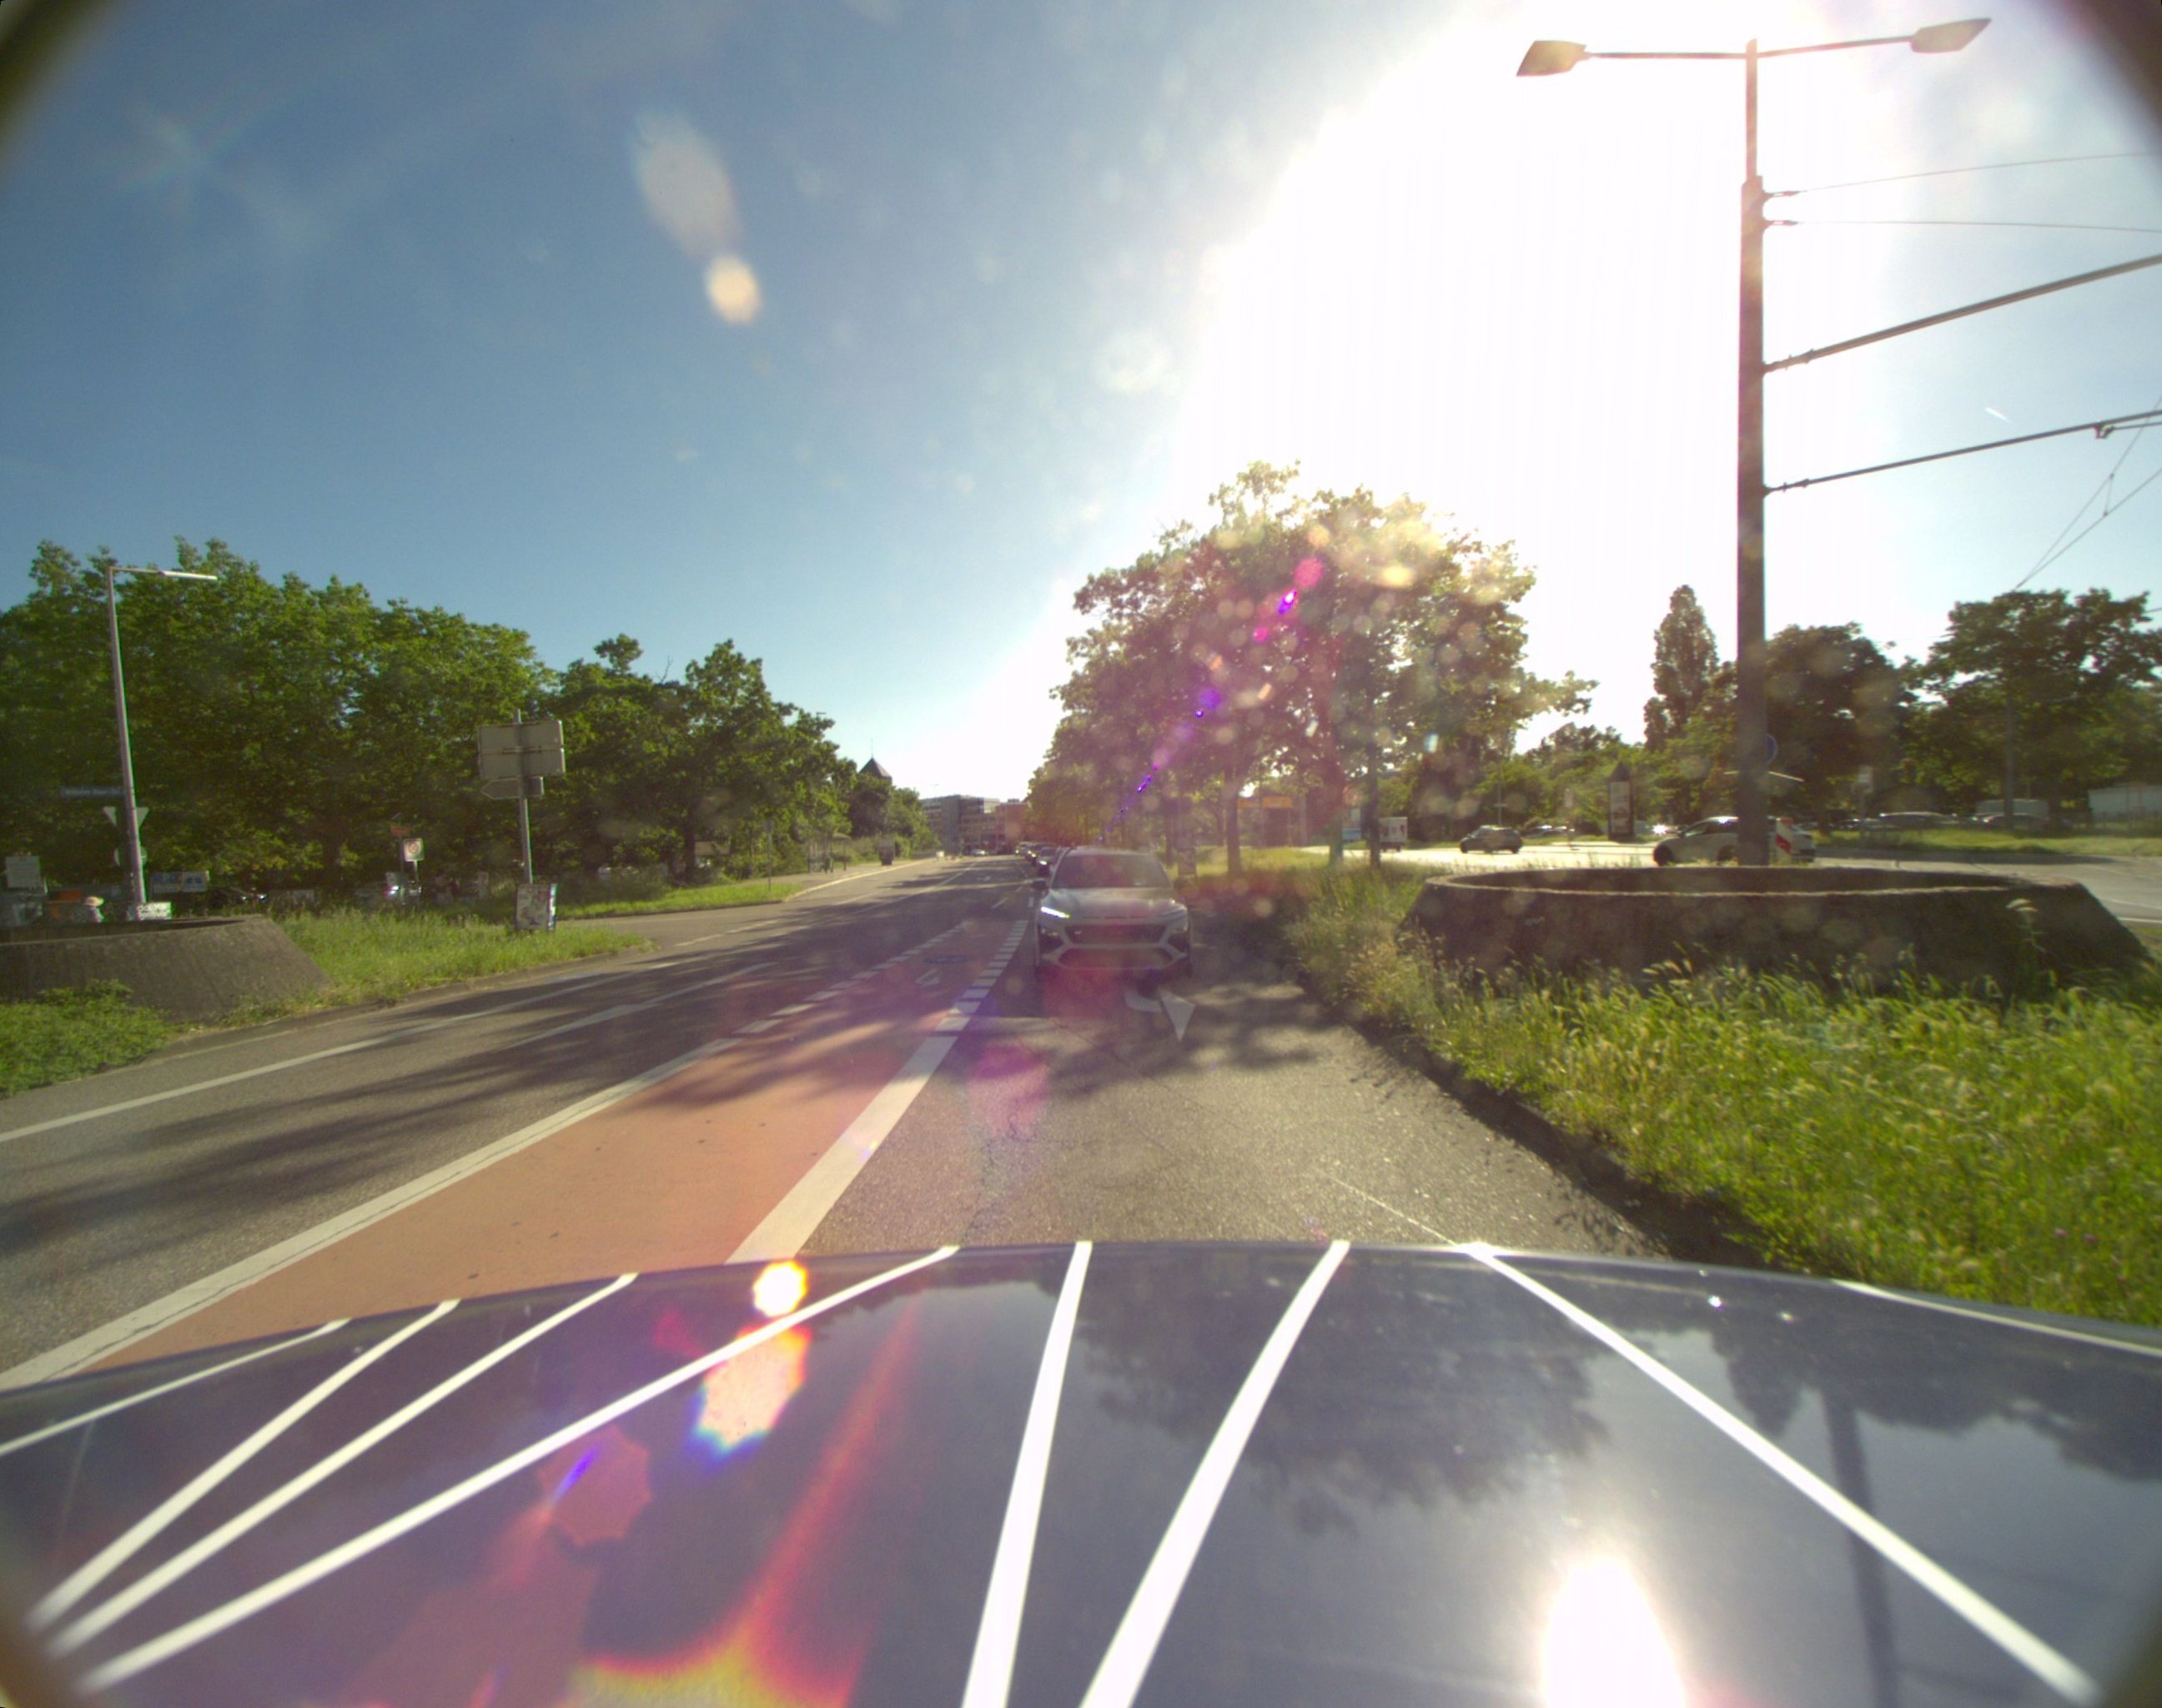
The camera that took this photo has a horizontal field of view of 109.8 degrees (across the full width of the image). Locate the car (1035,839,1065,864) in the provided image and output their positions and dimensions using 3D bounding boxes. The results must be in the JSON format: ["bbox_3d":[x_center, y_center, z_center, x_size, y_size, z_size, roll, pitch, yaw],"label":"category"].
[{"bbox_3d":[-2.095,-0.198,52.270,1.875,1.623,3.999,-2,1,-1],"label":"car"}]

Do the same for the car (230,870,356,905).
[{"bbox_3d":[-36.116,1.505,34.913,3.652,1.268,1.621,-3,4,-11],"label":"car"}]

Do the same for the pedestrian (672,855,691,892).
[{"bbox_3d":[-18.367,0.884,34.920,0.604,1.690,0.410,-2,2,-6],"label":"pedestrian"}]

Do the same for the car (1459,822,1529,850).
[{"bbox_3d":[23.523,-1.021,43.495,1.667,1.440,4.401,-2,1,2],"label":"car"}]

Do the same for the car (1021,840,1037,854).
[{"bbox_3d":[-6.614,-0.851,97.136,1.745,1.539,4.000,-4,-1,-1],"label":"car"}]

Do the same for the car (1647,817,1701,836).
[{"bbox_3d":[45.710,-2.105,58.512,4.006,1.275,1.995,-3,2,-31],"label":"car"}]

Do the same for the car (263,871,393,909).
[{"bbox_3d":[-32.343,1.516,32.755,3.588,1.308,1.621,-3,4,-11],"label":"car"}]

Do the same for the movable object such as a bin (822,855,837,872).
[{"bbox_3d":[-15.813,0.589,47.729,0.729,1.024,0.578,-2,2,-6],"label":"movable object such as a bin"}]

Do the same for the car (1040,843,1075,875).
[{"bbox_3d":[-1.194,0.220,39.366,1.678,1.499,3.947,-2,1,-1],"label":"car"}]

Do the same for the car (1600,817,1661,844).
[{"bbox_3d":[44.517,-1.909,61.524,5.007,2.002,2.234,-3,2,-31],"label":"car"}]

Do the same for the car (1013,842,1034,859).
[{"bbox_3d":[-5.224,-0.341,69.576,1.782,1.397,3.998,-2,1,-3],"label":"car"}]

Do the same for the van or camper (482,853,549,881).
[{"bbox_3d":[-48.337,1.022,65.149,2.459,2.146,5.321,-3,1,-11],"label":"van or camper"}]

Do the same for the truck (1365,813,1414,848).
[{"bbox_3d":[23.164,-1.748,57.189,1.793,2.413,4.107,-3,1,-4],"label":"truck"}]

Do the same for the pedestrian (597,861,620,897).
[{"bbox_3d":[-20.380,1.089,32.794,0.529,1.510,0.613,-3,2,-3],"label":"pedestrian"}]

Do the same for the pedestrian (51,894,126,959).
[{"bbox_3d":[-25.055,1.810,19.203,0.652,1.489,0.908,-3,2,-14],"label":"pedestrian"}]

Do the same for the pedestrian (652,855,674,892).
[{"bbox_3d":[-18.902,0.874,34.406,0.624,1.625,0.551,-2,2,-5],"label":"pedestrian"}]

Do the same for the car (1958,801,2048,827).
[{"bbox_3d":[68.467,-2.965,56.485,1.884,1.710,3.955,-3,2,-30],"label":"car"}]

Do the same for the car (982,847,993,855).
[{"bbox_3d":[-18.124,-0.586,147.955,1.999,1.524,3.997,-2,1,-6],"label":"car"}]

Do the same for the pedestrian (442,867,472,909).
[{"bbox_3d":[-24.910,1.353,30.347,0.599,1.611,0.566,-4,3,-11],"label":"pedestrian"}]

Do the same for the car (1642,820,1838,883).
[{"bbox_3d":[18.706,-0.117,21.893,1.998,1.553,4.386,-2,1,3],"label":"car"}]

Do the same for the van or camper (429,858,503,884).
[{"bbox_3d":[-52.022,1.389,64.428,2.459,1.902,5.322,-3,1,-10],"label":"van or camper"}]

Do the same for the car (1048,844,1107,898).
[{"bbox_3d":[-0.138,0.490,25.102,1.745,1.540,3.999,-2,1,-1],"label":"car"}]

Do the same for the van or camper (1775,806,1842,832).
[{"bbox_3d":[61.175,-2.912,63.965,1.997,2.084,4.404,-2,1,11],"label":"van or camper"}]

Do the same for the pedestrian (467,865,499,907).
[{"bbox_3d":[-24.031,1.291,30.519,0.705,1.611,0.566,-4,3,-11],"label":"pedestrian"}]

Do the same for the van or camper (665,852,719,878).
[{"bbox_3d":[-32.696,0.896,64.086,2.459,1.902,5.322,-3,1,-10],"label":"van or camper"}]

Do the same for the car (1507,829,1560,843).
[{"bbox_3d":[40.656,-1.613,68.403,1.822,1.122,3.995,-3,1,-12],"label":"car"}]

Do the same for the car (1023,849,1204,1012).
[{"bbox_3d":[0.295,0.765,9.732,1.780,1.543,3.978,-2,1,-1],"label":"car"}]
